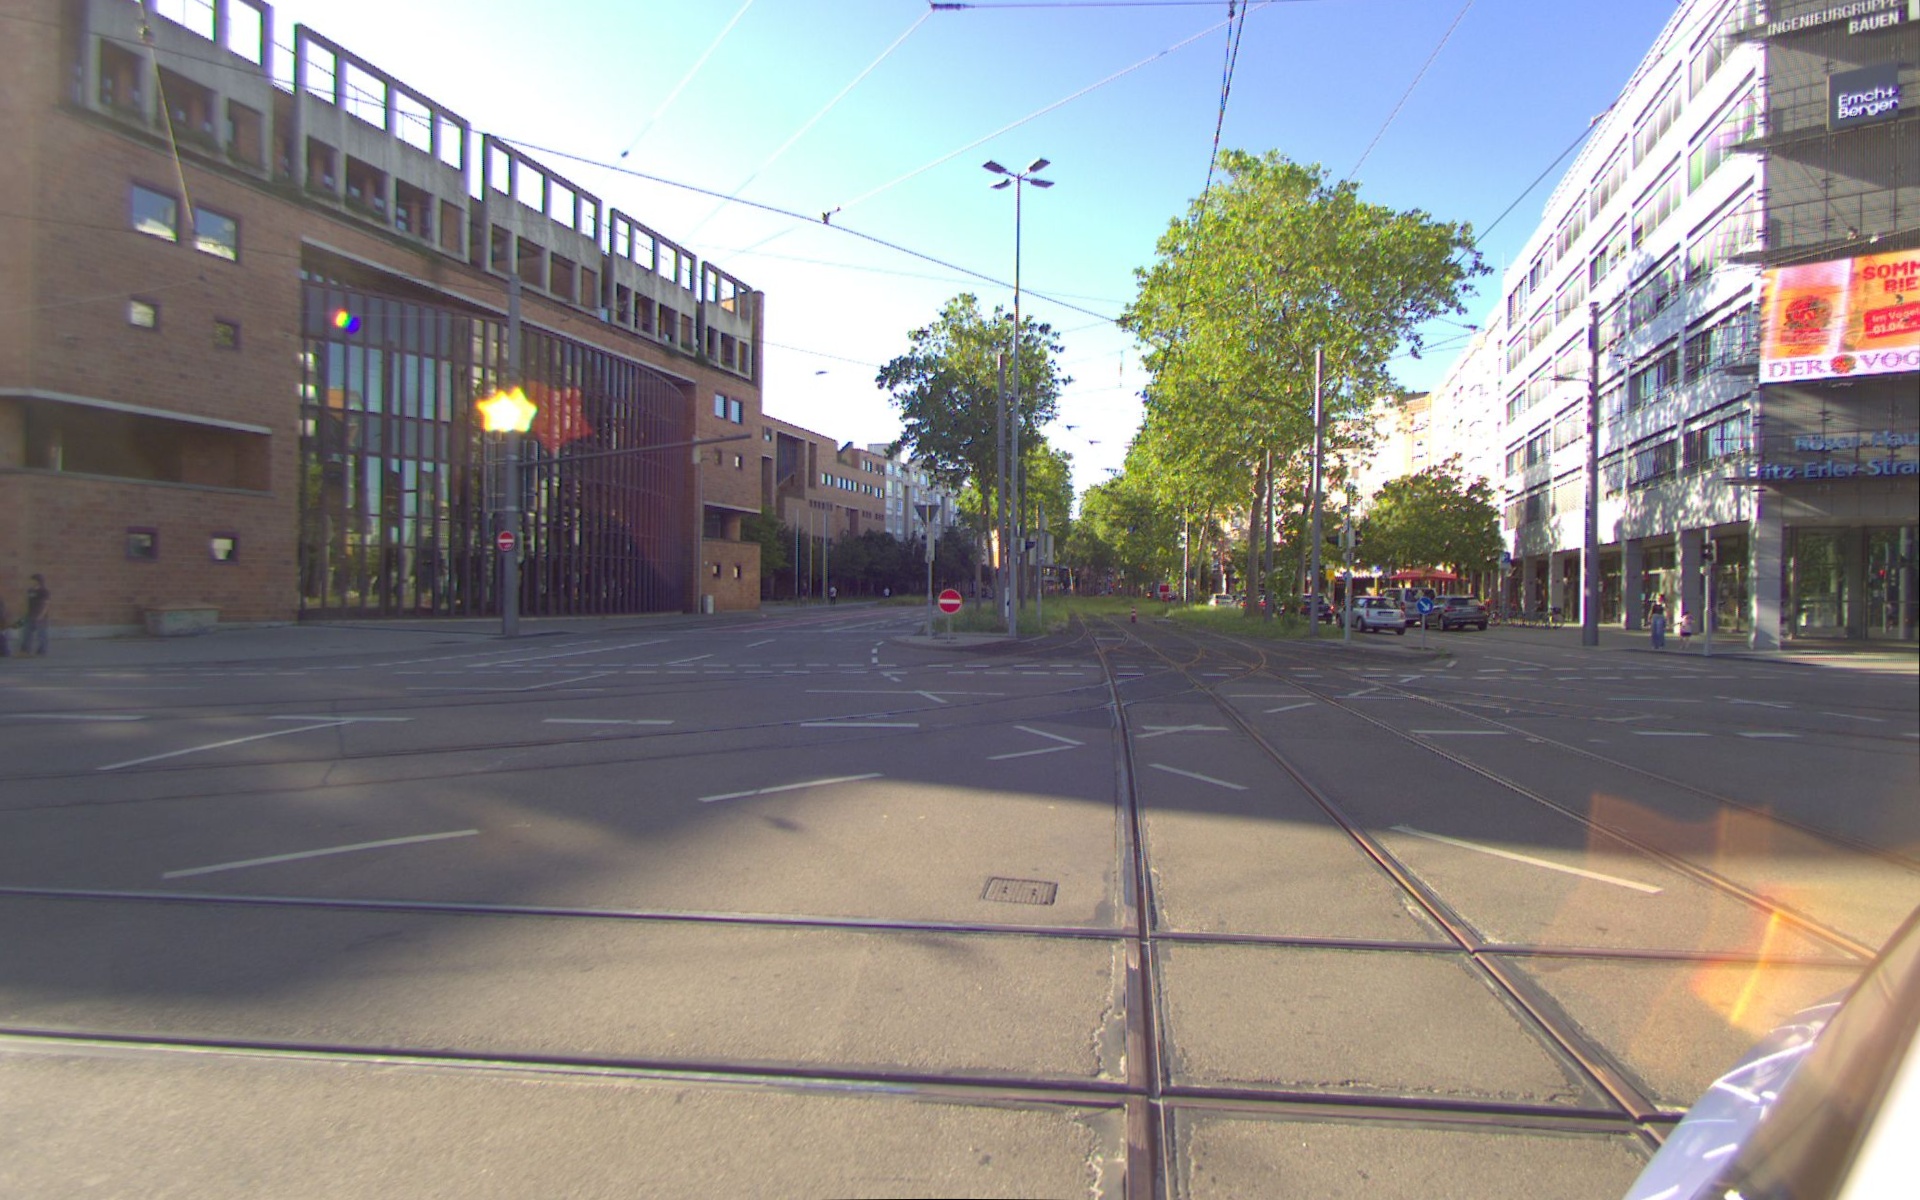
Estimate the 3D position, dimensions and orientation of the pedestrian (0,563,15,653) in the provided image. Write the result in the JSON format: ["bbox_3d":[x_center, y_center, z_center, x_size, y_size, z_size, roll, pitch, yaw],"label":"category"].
[{"bbox_3d":[-19.723,0.157,20.536,0.538,1.808,0.574,1,1,-3],"label":"pedestrian"}]

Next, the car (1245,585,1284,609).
[{"bbox_3d":[19.685,-0.186,65.606,1.671,1.458,4.013,1,0,5],"label":"car"}]

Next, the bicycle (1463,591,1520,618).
[{"bbox_3d":[25.887,0.229,49.333,2.348,1.229,0.775,2,0,-1],"label":"bicycle"}]

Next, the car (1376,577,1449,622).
[{"bbox_3d":[22.016,-0.065,49.422,1.834,2.041,4.452,1,1,5],"label":"car"}]

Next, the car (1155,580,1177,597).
[{"bbox_3d":[22.981,-1.263,112.960,1.790,1.791,4.312,1,-1,2],"label":"car"}]

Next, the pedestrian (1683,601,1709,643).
[{"bbox_3d":[22.152,0.658,30.463,0.436,1.225,0.460,2,0,12],"label":"pedestrian"}]

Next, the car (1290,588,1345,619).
[{"bbox_3d":[18.013,0.142,51.169,1.836,1.493,3.969,1,1,8],"label":"car"}]

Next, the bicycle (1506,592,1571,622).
[{"bbox_3d":[25.591,0.325,44.786,2.364,1.229,0.770,2,0,19],"label":"bicycle"}]

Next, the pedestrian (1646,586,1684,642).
[{"bbox_3d":[21.643,0.419,31.062,0.651,1.661,0.790,2,0,12],"label":"pedestrian"}]

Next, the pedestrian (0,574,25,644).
[{"bbox_3d":[-20.975,0.188,22.125,0.561,1.495,0.550,1,1,-12],"label":"pedestrian"}]

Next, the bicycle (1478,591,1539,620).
[{"bbox_3d":[25.131,0.253,46.366,2.348,1.229,0.775,2,0,-1],"label":"bicycle"}]

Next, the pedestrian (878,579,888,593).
[{"bbox_3d":[-7.763,-1.428,101.932,0.798,1.401,0.686,1,1,8],"label":"pedestrian"}]

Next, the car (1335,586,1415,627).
[{"bbox_3d":[15.787,0.203,38.689,1.636,1.406,3.535,3,1,2],"label":"car"}]

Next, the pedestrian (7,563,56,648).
[{"bbox_3d":[-20.163,0.105,21.985,0.538,1.808,0.574,1,1,-3],"label":"pedestrian"}]

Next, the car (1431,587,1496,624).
[{"bbox_3d":[21.759,0.209,43.850,1.842,1.493,3.956,1,1,17],"label":"car"}]

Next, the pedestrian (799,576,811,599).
[{"bbox_3d":[-11.525,-0.938,75.233,0.796,1.626,0.688,1,1,-7],"label":"pedestrian"}]

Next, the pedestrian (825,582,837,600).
[{"bbox_3d":[-10.454,-0.742,82.029,0.798,1.401,0.686,1,1,8],"label":"pedestrian"}]

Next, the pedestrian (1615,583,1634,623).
[{"bbox_3d":[29.320,0.129,44.649,0.580,1.756,0.786,0,-1,24],"label":"pedestrian"}]

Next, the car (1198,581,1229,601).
[{"bbox_3d":[19.349,-0.712,77.345,1.670,1.493,3.977,1,1,5],"label":"car"}]

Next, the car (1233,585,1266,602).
[{"bbox_3d":[25.957,-0.621,90.814,1.832,1.493,3.978,1,1,0],"label":"car"}]
